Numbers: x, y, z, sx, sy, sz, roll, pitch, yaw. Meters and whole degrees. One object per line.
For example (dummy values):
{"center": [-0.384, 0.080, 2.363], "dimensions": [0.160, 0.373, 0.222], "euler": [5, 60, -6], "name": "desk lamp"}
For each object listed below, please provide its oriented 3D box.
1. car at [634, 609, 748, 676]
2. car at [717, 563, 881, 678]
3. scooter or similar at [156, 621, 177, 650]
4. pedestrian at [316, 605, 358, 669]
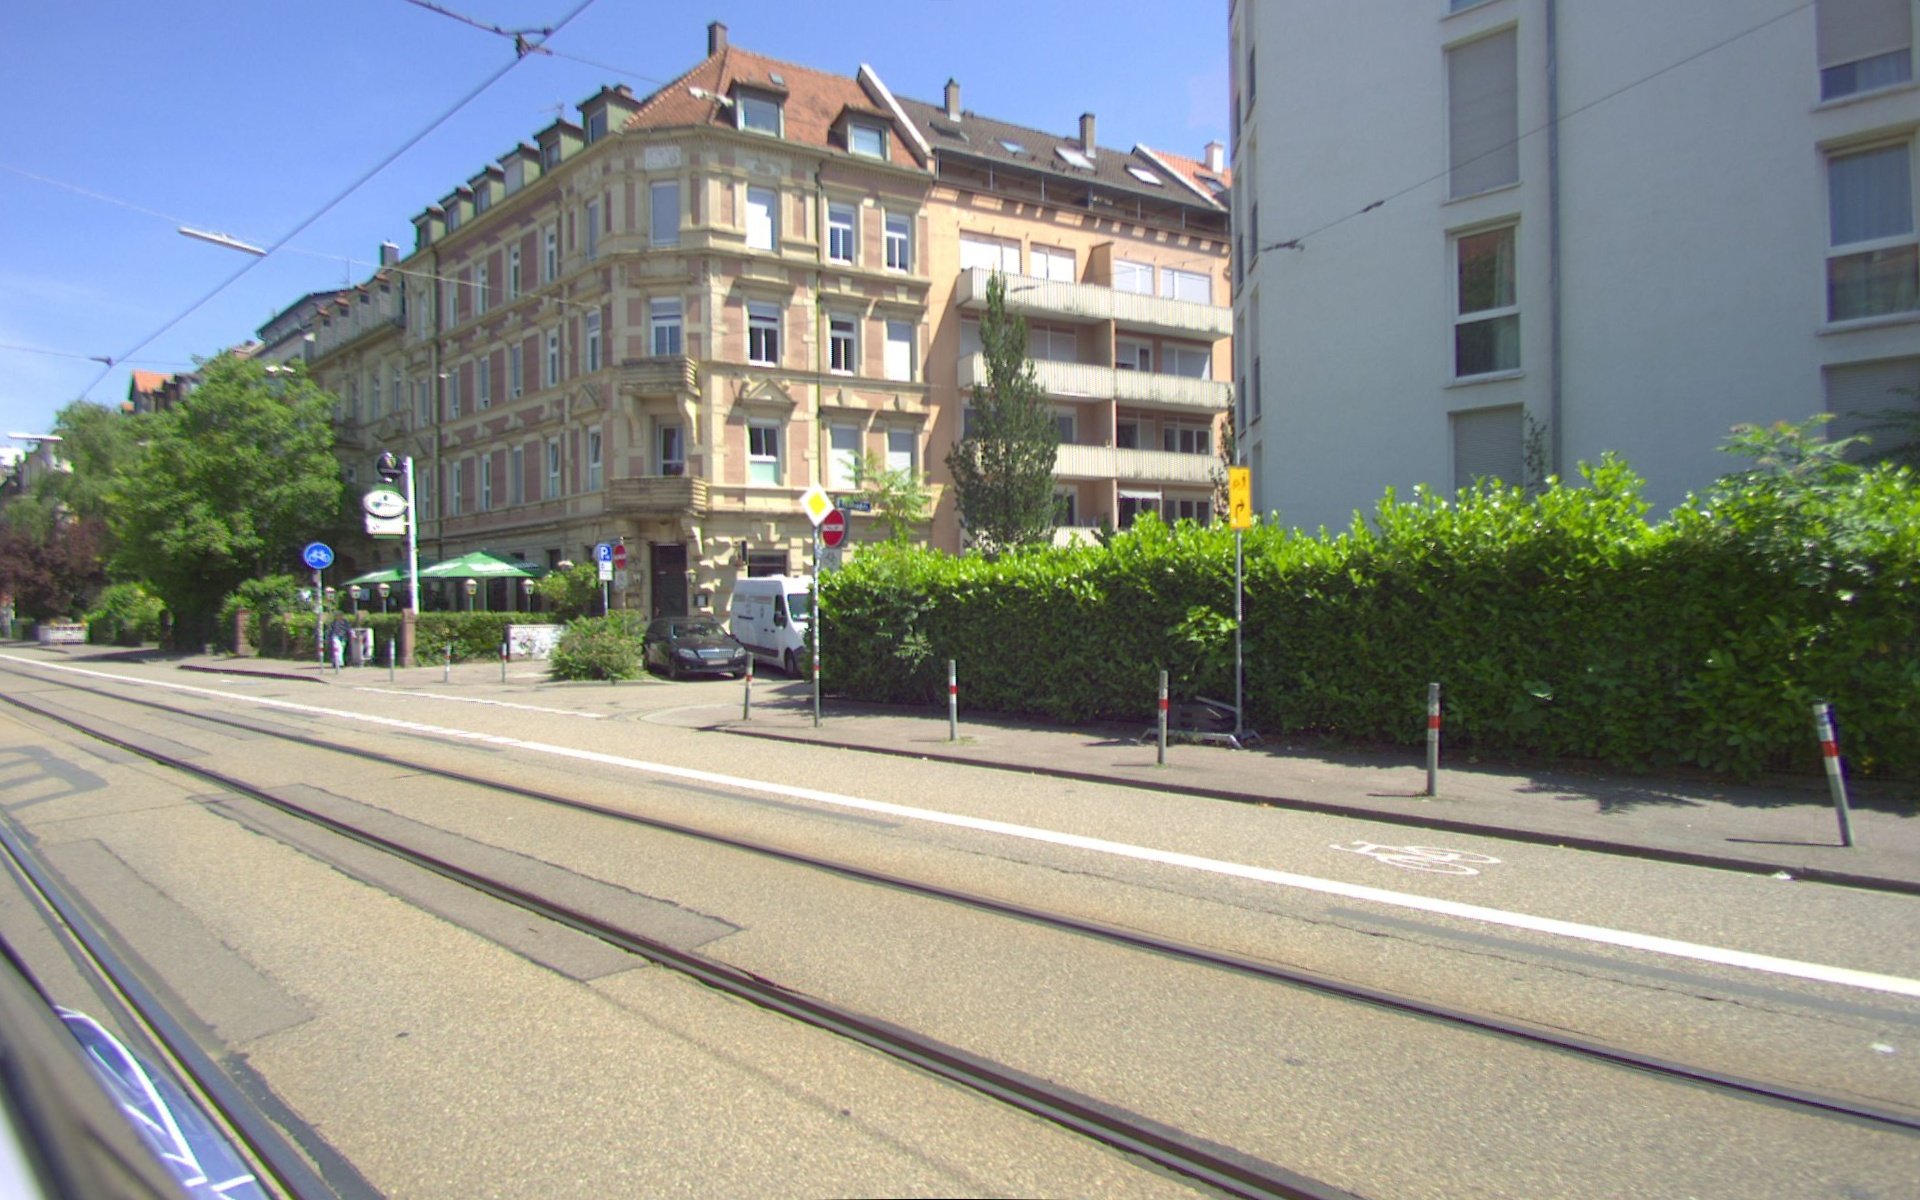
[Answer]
{"center": [-6.631, 0.975, 24.709], "dimensions": [1.568, 1.449, 3.768], "euler": [-1, 0, -34], "name": "car"}
{"center": [-4.337, 0.458, 26.145], "dimensions": [2.089, 2.609, 6.208], "euler": [-1, 0, -30], "name": "car"}
{"center": [-39.280, 1.766, 50.105], "dimensions": [0.693, 1.410, 0.610], "euler": [-1, 1, 31], "name": "scooter or similar"}
{"center": [-16.659, 0.981, 27.064], "dimensions": [0.940, 1.654, 0.732], "euler": [-1, 0, 44], "name": "pedestrian"}
